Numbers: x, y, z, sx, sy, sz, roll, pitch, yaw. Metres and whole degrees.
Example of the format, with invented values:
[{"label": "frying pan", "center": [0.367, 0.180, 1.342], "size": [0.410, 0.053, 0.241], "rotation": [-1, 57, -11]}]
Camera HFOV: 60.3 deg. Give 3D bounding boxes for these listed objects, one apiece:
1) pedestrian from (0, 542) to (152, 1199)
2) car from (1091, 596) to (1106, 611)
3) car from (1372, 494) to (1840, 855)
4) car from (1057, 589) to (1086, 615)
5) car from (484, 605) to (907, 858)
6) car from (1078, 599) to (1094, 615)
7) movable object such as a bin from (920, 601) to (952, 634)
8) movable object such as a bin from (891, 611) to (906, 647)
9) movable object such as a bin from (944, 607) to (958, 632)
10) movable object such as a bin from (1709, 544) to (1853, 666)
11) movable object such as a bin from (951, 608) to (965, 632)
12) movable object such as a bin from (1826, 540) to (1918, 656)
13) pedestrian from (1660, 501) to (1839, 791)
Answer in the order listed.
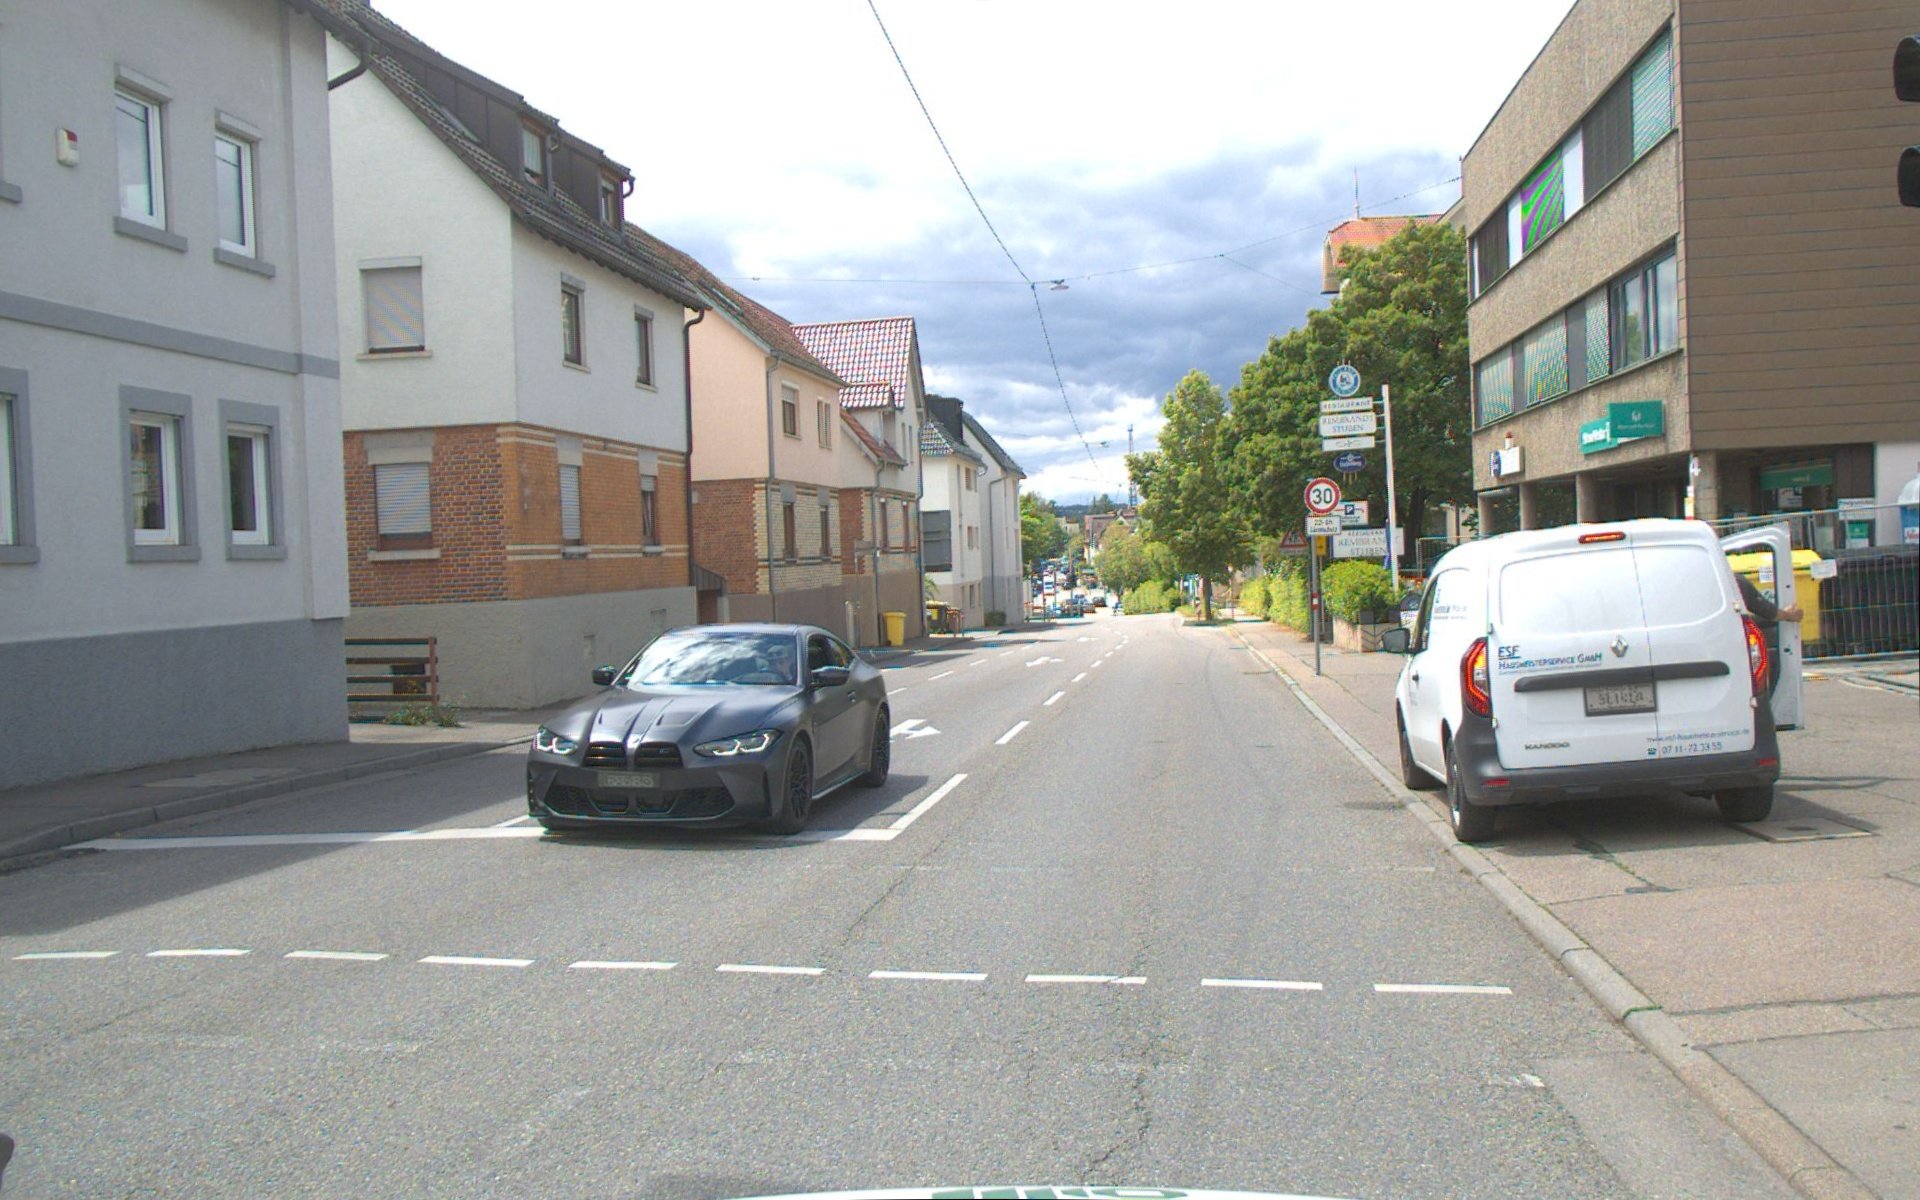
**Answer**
[{"label": "pedestrian", "center": [-2.604, 0.708, 3.969], "size": [0.852, 1.666, 0.837], "rotation": [-1, -2, 19]}, {"label": "car", "center": [19.950, 0.469, 238.940], "size": [1.952, 2.049, 4.002], "rotation": [-3, -1, 3]}, {"label": "car", "center": [4.107, 0.413, 11.380], "size": [1.871, 1.825, 4.494], "rotation": [-6, -1, 8]}, {"label": "car", "center": [9.223, 0.149, 136.683], "size": [1.953, 2.049, 3.999], "rotation": [-2, 0, -1]}, {"label": "car", "center": [-1.775, 0.852, 12.843], "size": [1.951, 1.482, 4.621], "rotation": [-3, 0, 7]}, {"label": "car", "center": [17.043, 1.009, 223.615], "size": [1.952, 2.049, 4.002], "rotation": [-3, -1, 3]}, {"label": "movable object such as a bin", "center": [-1.023, 0.750, 70.612], "size": [1.254, 1.333, 0.816], "rotation": [-2, 0, 2]}, {"label": "movable object such as a bin", "center": [-2.024, 0.954, 54.584], "size": [0.422, 1.147, 0.299], "rotation": [-3, 0, 6]}, {"label": "movable object such as a bin", "center": [-0.379, 0.854, 71.596], "size": [0.520, 1.048, 0.455], "rotation": [-2, 0, 6]}, {"label": "movable object such as a bin", "center": [10.997, 0.057, 22.212], "size": [1.451, 1.518, 1.077], "rotation": [-3, 2, 11]}, {"label": "movable object such as a bin", "center": [-0.079, 0.864, 72.265], "size": [0.520, 1.048, 0.455], "rotation": [-2, 0, 6]}, {"label": "movable object such as a bin", "center": [12.148, -0.036, 22.062], "size": [0.763, 1.465, 1.019], "rotation": [-2, 2, 11]}, {"label": "pedestrian", "center": [5.246, 0.298, 11.033], "size": [0.825, 1.834, 0.651], "rotation": [-3, 0, 7]}]
